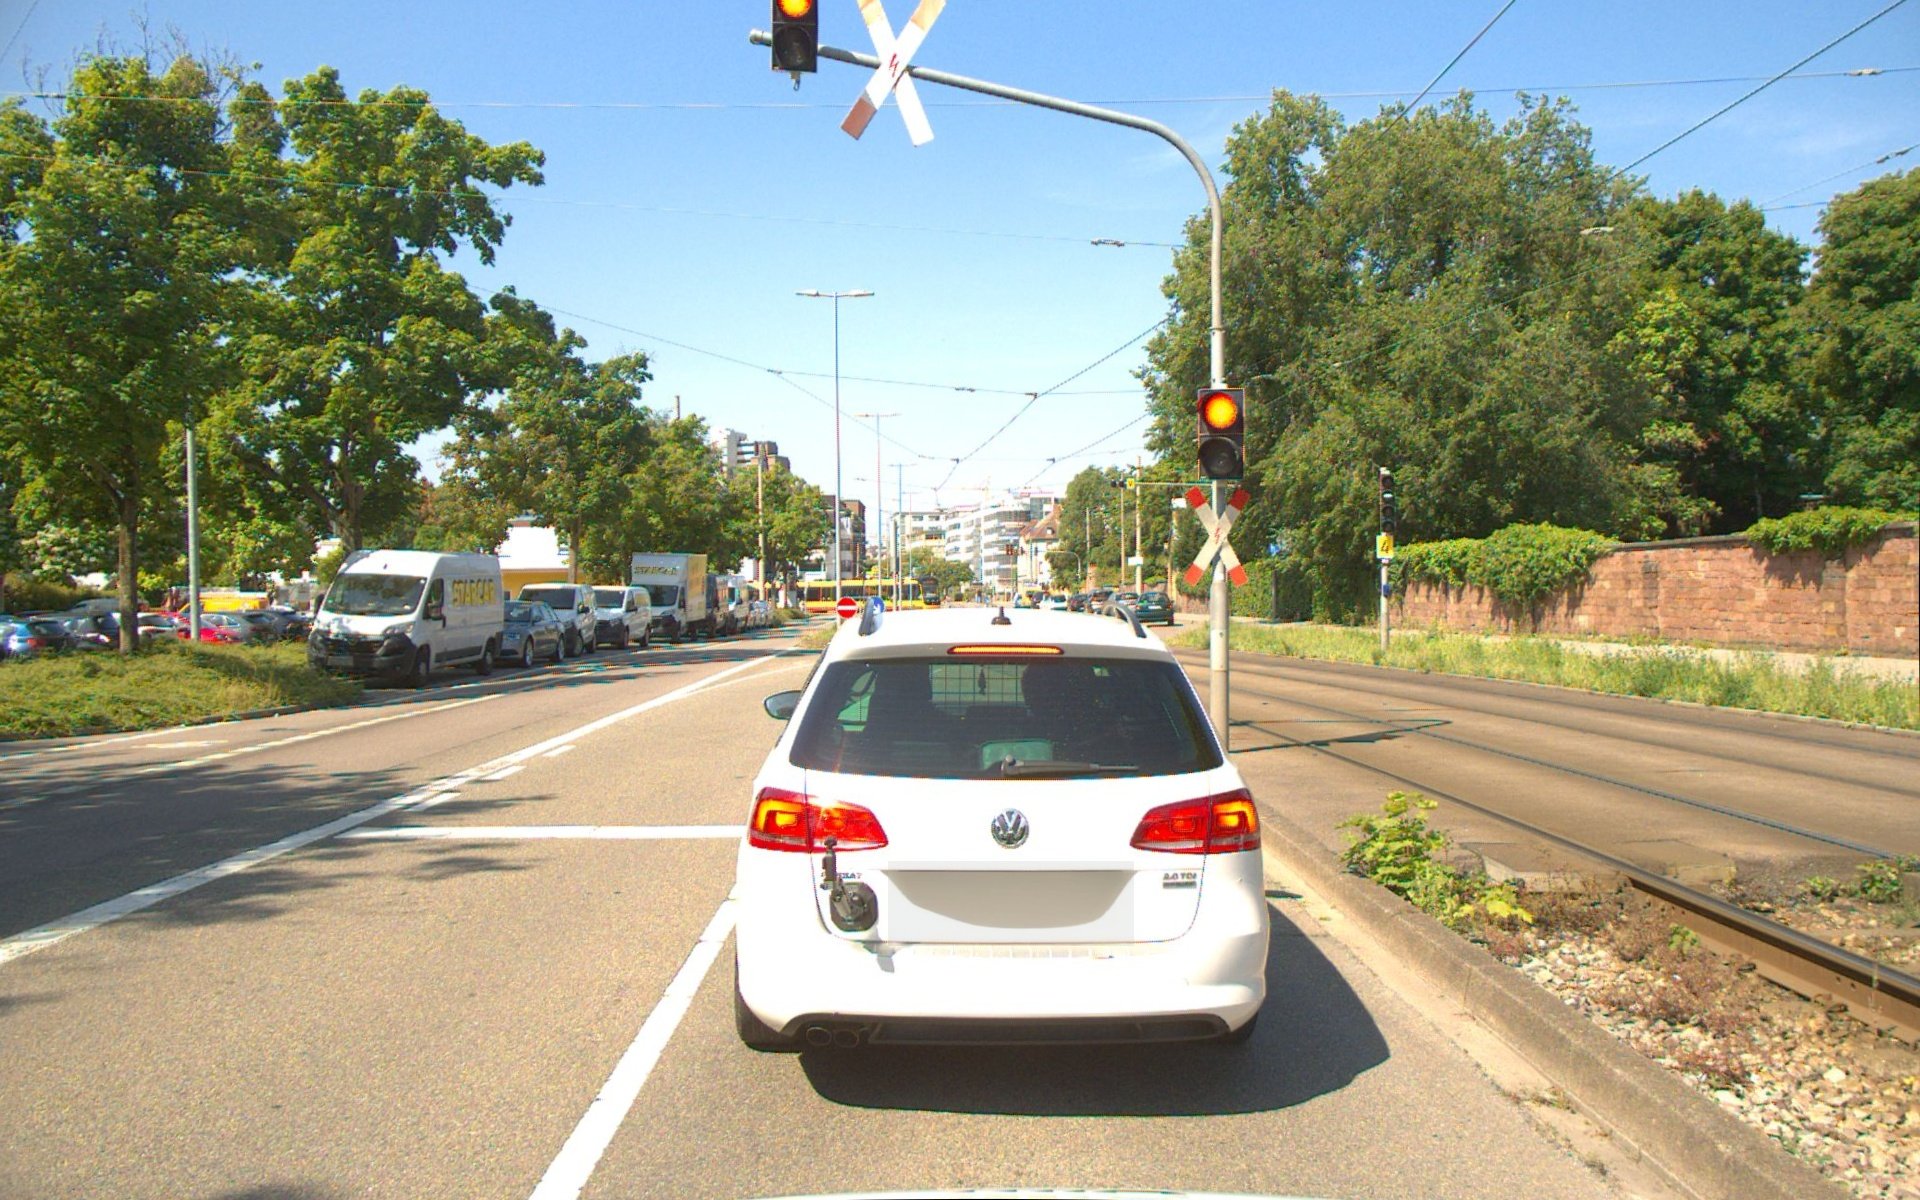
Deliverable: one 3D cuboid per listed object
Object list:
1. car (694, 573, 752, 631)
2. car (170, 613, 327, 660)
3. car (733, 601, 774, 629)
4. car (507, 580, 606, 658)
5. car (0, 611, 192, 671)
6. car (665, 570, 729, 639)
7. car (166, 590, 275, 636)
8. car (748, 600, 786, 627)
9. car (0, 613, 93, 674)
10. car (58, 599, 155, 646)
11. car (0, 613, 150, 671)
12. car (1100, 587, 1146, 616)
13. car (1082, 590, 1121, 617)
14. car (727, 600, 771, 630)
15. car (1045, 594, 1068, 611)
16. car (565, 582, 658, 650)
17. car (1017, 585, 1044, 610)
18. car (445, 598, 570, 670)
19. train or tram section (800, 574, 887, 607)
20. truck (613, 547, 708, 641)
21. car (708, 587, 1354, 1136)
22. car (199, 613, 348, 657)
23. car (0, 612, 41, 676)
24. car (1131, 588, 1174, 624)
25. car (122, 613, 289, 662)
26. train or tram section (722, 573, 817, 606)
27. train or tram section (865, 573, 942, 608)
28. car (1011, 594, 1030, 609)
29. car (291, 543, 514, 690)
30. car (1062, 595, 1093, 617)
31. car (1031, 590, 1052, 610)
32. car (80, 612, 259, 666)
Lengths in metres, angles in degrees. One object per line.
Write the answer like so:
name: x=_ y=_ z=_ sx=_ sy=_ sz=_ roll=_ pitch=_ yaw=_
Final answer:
car: x=-10.806 y=0.075 z=75.740 sx=1.806 sy=2.538 sz=5.856 roll=-1 pitch=0 yaw=0
car: x=-21.230 y=1.080 z=49.445 sx=3.904 sy=1.246 sz=1.772 roll=-1 pitch=0 yaw=2
car: x=-11.409 y=0.814 z=91.544 sx=1.806 sy=1.458 sz=4.037 roll=-1 pitch=0 yaw=-1
car: x=-11.017 y=0.471 z=45.469 sx=1.807 sy=1.971 sz=5.189 roll=-1 pitch=0 yaw=-5
car: x=-21.766 y=1.012 z=41.752 sx=3.904 sy=1.373 sz=1.772 roll=-1 pitch=0 yaw=2
car: x=-10.761 y=0.172 z=68.069 sx=1.806 sy=2.715 sz=5.003 roll=-1 pitch=0 yaw=0
car: x=-34.284 y=0.610 z=76.758 sx=4.175 sy=2.049 sz=1.997 roll=1 pitch=-1 yaw=-7
car: x=-11.267 y=0.771 z=96.638 sx=1.744 sy=1.458 sz=4.037 roll=-1 pitch=0 yaw=-1
car: x=-21.255 y=0.952 z=35.889 sx=3.904 sy=1.246 sz=1.772 roll=-1 pitch=0 yaw=2
car: x=-36.923 y=0.959 z=71.598 sx=3.354 sy=1.909 sz=1.552 roll=-1 pitch=0 yaw=-3
car: x=-21.556 y=1.000 z=39.110 sx=3.904 sy=1.246 sz=1.772 roll=-1 pitch=0 yaw=2
car: x=8.345 y=0.064 z=84.778 sx=1.823 sy=1.441 sz=4.324 roll=1 pitch=0 yaw=-1
car: x=8.349 y=0.209 z=97.756 sx=1.823 sy=1.539 sz=3.912 roll=1 pitch=0 yaw=-1
car: x=-10.885 y=0.761 z=85.502 sx=1.806 sy=1.458 sz=4.037 roll=-1 pitch=0 yaw=-1
car: x=7.643 y=0.208 z=130.799 sx=1.549 sy=1.370 sz=3.453 roll=1 pitch=0 yaw=-1
car: x=-10.907 y=0.469 z=52.111 sx=1.806 sy=1.995 sz=5.133 roll=-1 pitch=0 yaw=0
car: x=7.202 y=-0.236 z=170.280 sx=2.413 sy=2.542 sz=5.908 roll=1 pitch=0 yaw=-1
car: x=-10.522 y=0.756 z=38.735 sx=1.806 sy=1.543 sz=4.196 roll=-1 pitch=0 yaw=-1
train or tram section: x=-12.308 y=-1.031 z=173.461 sx=10.611 sy=3.309 sz=2.296 roll=1 pitch=-1 yaw=41
truck: x=-10.779 y=-0.222 z=60.133 sx=2.309 sy=3.177 sz=6.889 roll=-1 pitch=0 yaw=-2
car: x=0.145 y=0.703 z=6.446 sx=1.732 sy=1.471 sz=3.912 roll=1 pitch=0 yaw=-2
car: x=-21.422 y=1.089 z=51.698 sx=3.904 sy=1.246 sz=1.772 roll=-1 pitch=0 yaw=2
car: x=-20.939 y=0.916 z=33.235 sx=3.907 sy=1.246 sz=1.770 roll=-1 pitch=0 yaw=-3
car: x=7.996 y=0.240 z=68.696 sx=1.709 sy=1.412 sz=3.916 roll=1 pitch=0 yaw=7
car: x=-21.310 y=1.054 z=46.807 sx=3.904 sy=1.246 sz=1.772 roll=-1 pitch=0 yaw=2
train or tram section: x=-20.659 y=-1.151 z=179.141 sx=10.769 sy=3.310 sz=2.306 roll=1 pitch=-1 yaw=27
train or tram section: x=-5.774 y=-0.963 z=165.673 sx=2.280 sy=3.309 sz=11.146 roll=1 pitch=-1 yaw=-33
car: x=6.734 y=0.177 z=184.780 sx=1.953 sy=1.624 sz=3.999 roll=1 pitch=0 yaw=0
car: x=-10.750 y=0.261 z=32.497 sx=2.016 sy=2.544 sz=6.309 roll=2 pitch=0 yaw=2
car: x=7.849 y=0.393 z=110.601 sx=1.710 sy=1.432 sz=3.912 roll=1 pitch=0 yaw=-1
car: x=7.493 y=0.013 z=152.339 sx=1.657 sy=1.844 sz=3.453 roll=1 pitch=-1 yaw=-1
car: x=-21.059 y=1.022 z=44.152 sx=3.904 sy=1.286 sz=1.772 roll=-1 pitch=0 yaw=2
